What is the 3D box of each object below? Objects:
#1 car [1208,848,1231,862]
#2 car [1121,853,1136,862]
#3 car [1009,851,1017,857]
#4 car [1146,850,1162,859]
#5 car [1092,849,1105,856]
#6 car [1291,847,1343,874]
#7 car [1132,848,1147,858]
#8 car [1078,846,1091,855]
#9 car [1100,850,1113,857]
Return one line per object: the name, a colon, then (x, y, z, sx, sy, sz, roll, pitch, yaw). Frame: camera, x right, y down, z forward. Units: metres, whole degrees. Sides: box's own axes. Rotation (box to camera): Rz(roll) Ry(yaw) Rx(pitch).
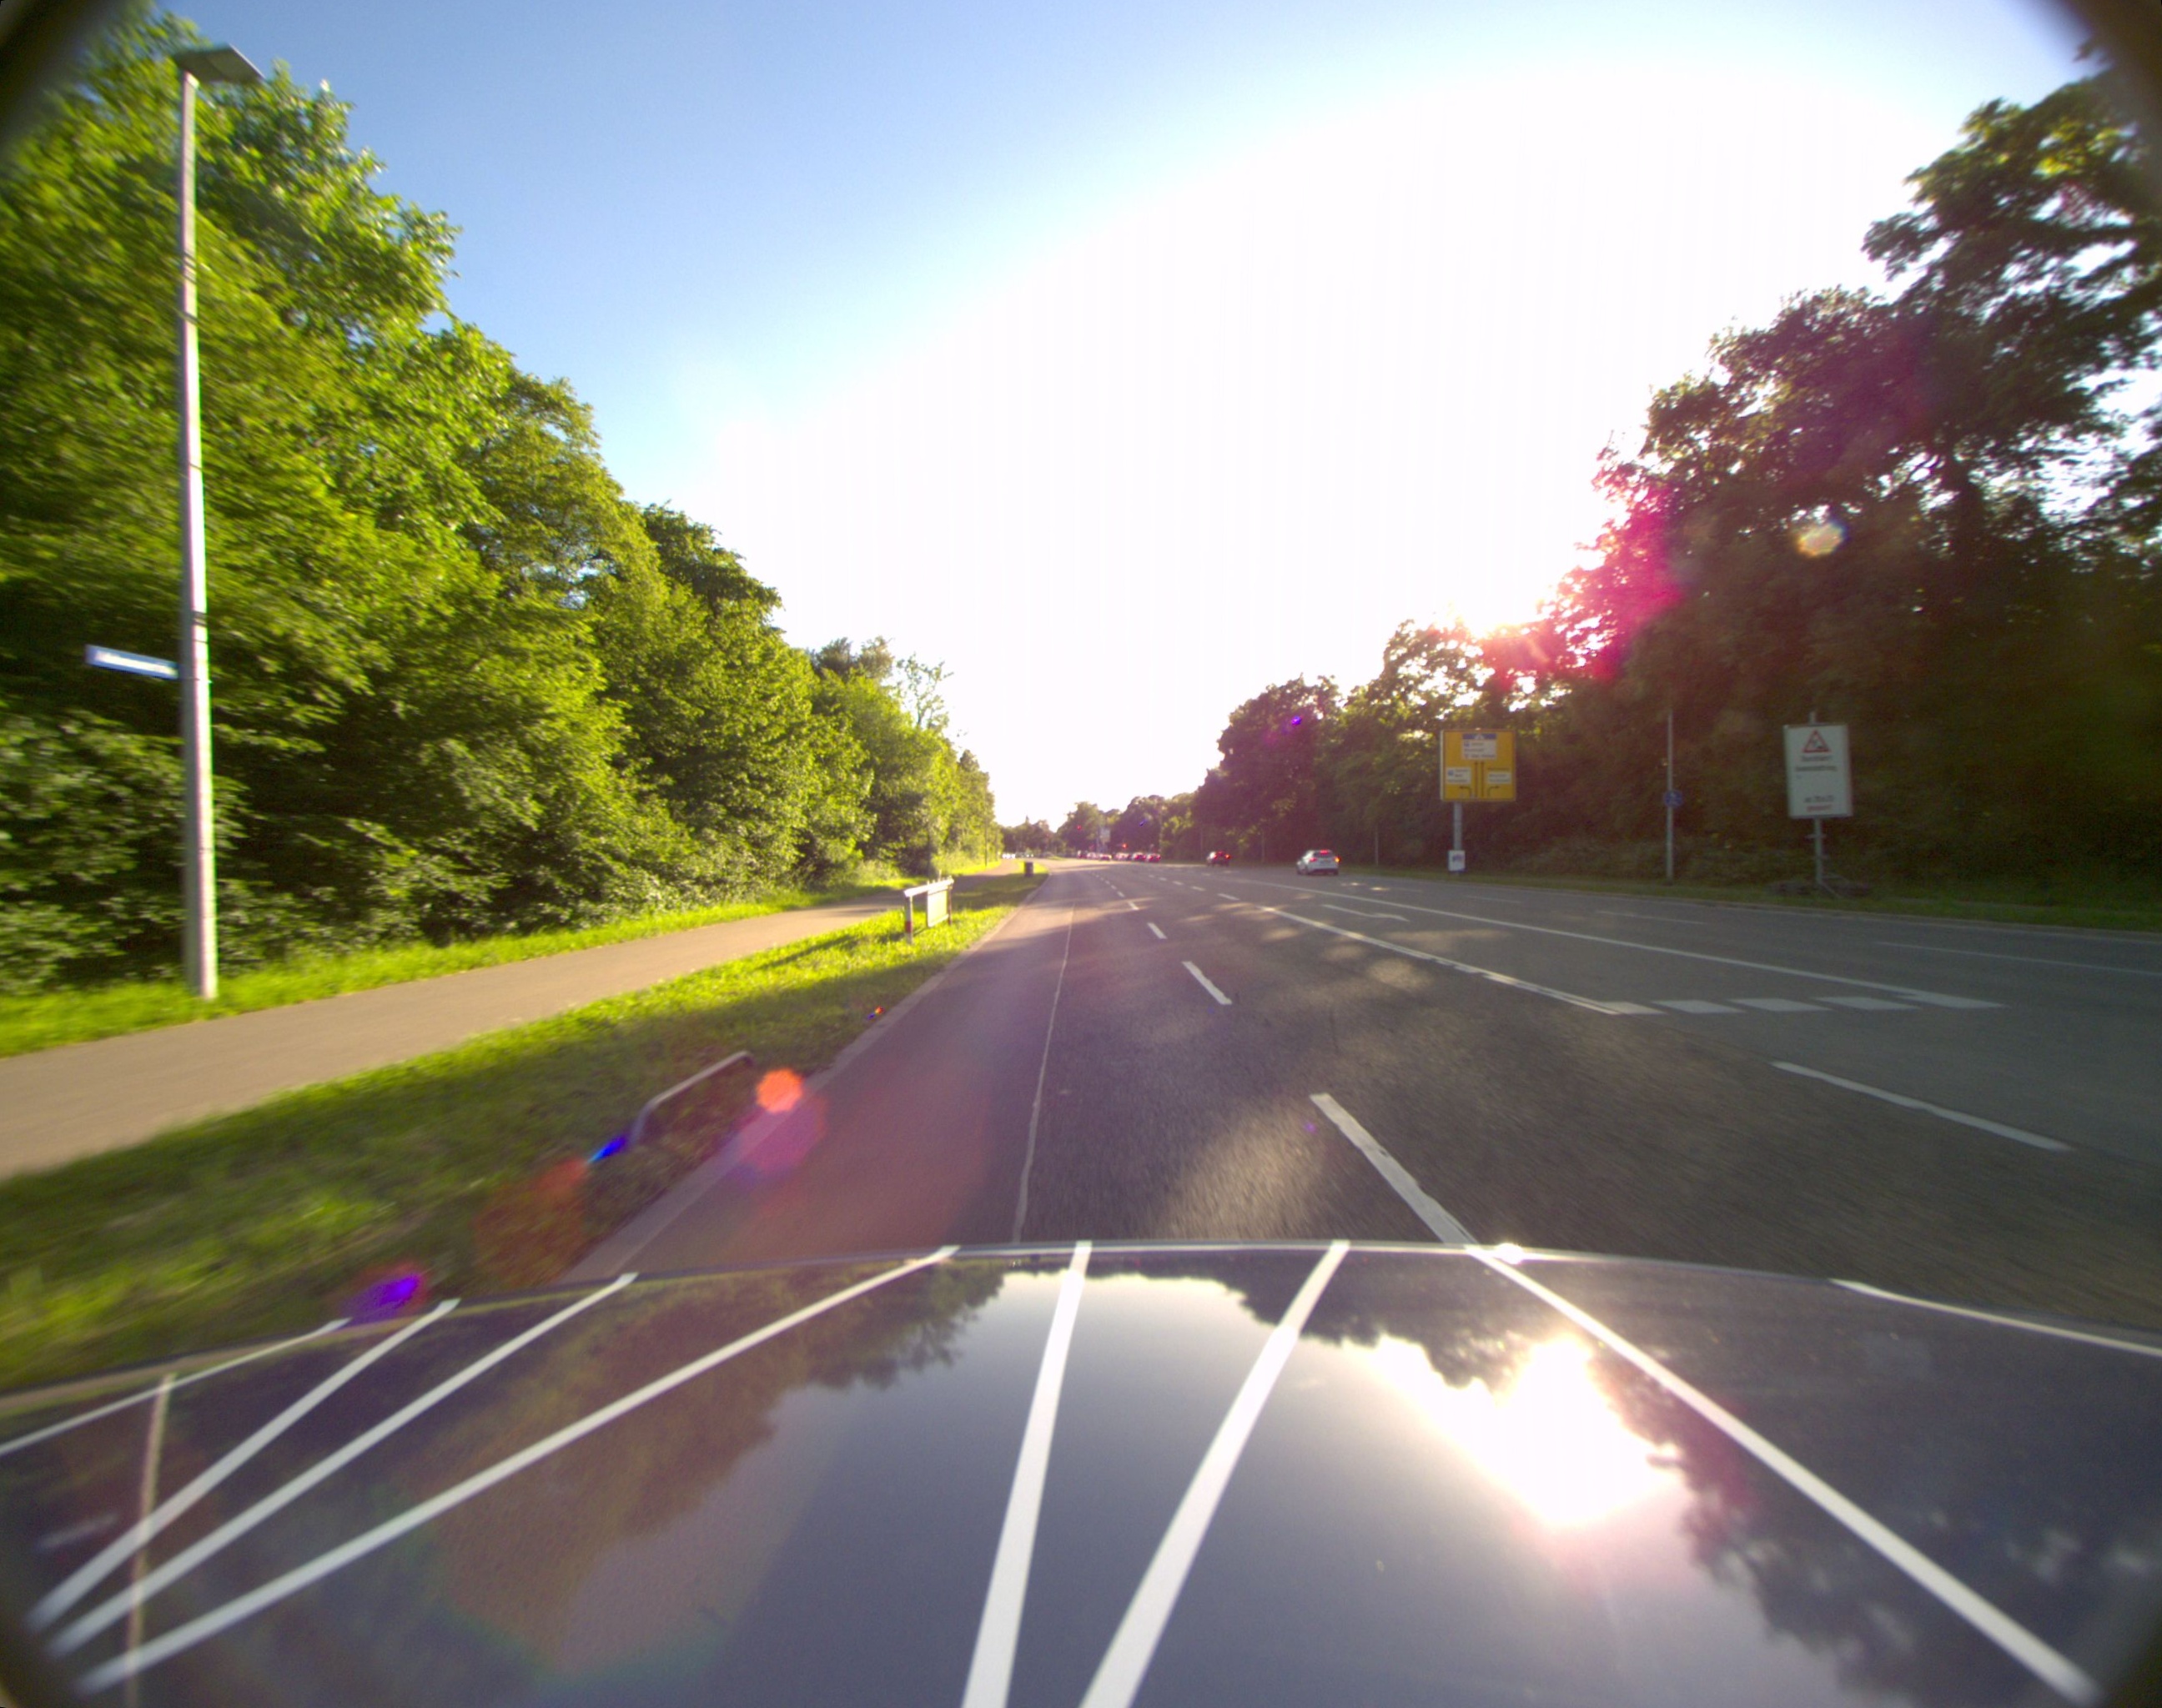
car: (14.950, 0.091, 82.100, 1.829, 1.536, 4.257, -1, 0, 3)
car: (9.053, 0.620, 145.912, 2.000, 1.555, 4.645, 2, 0, -6)
car: (-19.970, -0.050, 223.465, 2.000, 1.510, 3.995, -1, 2, -11)
car: (12.090, 0.082, 125.976, 1.999, 1.555, 4.336, 0, 0, -4)
car: (3.745, -0.377, 166.466, 2.000, 1.442, 4.643, 1, 0, -9)
car: (13.933, 0.353, 45.083, 1.829, 1.495, 4.306, -1, 0, 1)
car: (10.645, -0.198, 138.341, 2.000, 1.627, 4.840, 0, 0, -6)
car: (0.802, -0.796, 167.030, 2.000, 1.950, 4.643, 1, 0, -9)
car: (4.543, -0.123, 134.322, 1.749, 1.227, 4.671, 0, 0, -4)
